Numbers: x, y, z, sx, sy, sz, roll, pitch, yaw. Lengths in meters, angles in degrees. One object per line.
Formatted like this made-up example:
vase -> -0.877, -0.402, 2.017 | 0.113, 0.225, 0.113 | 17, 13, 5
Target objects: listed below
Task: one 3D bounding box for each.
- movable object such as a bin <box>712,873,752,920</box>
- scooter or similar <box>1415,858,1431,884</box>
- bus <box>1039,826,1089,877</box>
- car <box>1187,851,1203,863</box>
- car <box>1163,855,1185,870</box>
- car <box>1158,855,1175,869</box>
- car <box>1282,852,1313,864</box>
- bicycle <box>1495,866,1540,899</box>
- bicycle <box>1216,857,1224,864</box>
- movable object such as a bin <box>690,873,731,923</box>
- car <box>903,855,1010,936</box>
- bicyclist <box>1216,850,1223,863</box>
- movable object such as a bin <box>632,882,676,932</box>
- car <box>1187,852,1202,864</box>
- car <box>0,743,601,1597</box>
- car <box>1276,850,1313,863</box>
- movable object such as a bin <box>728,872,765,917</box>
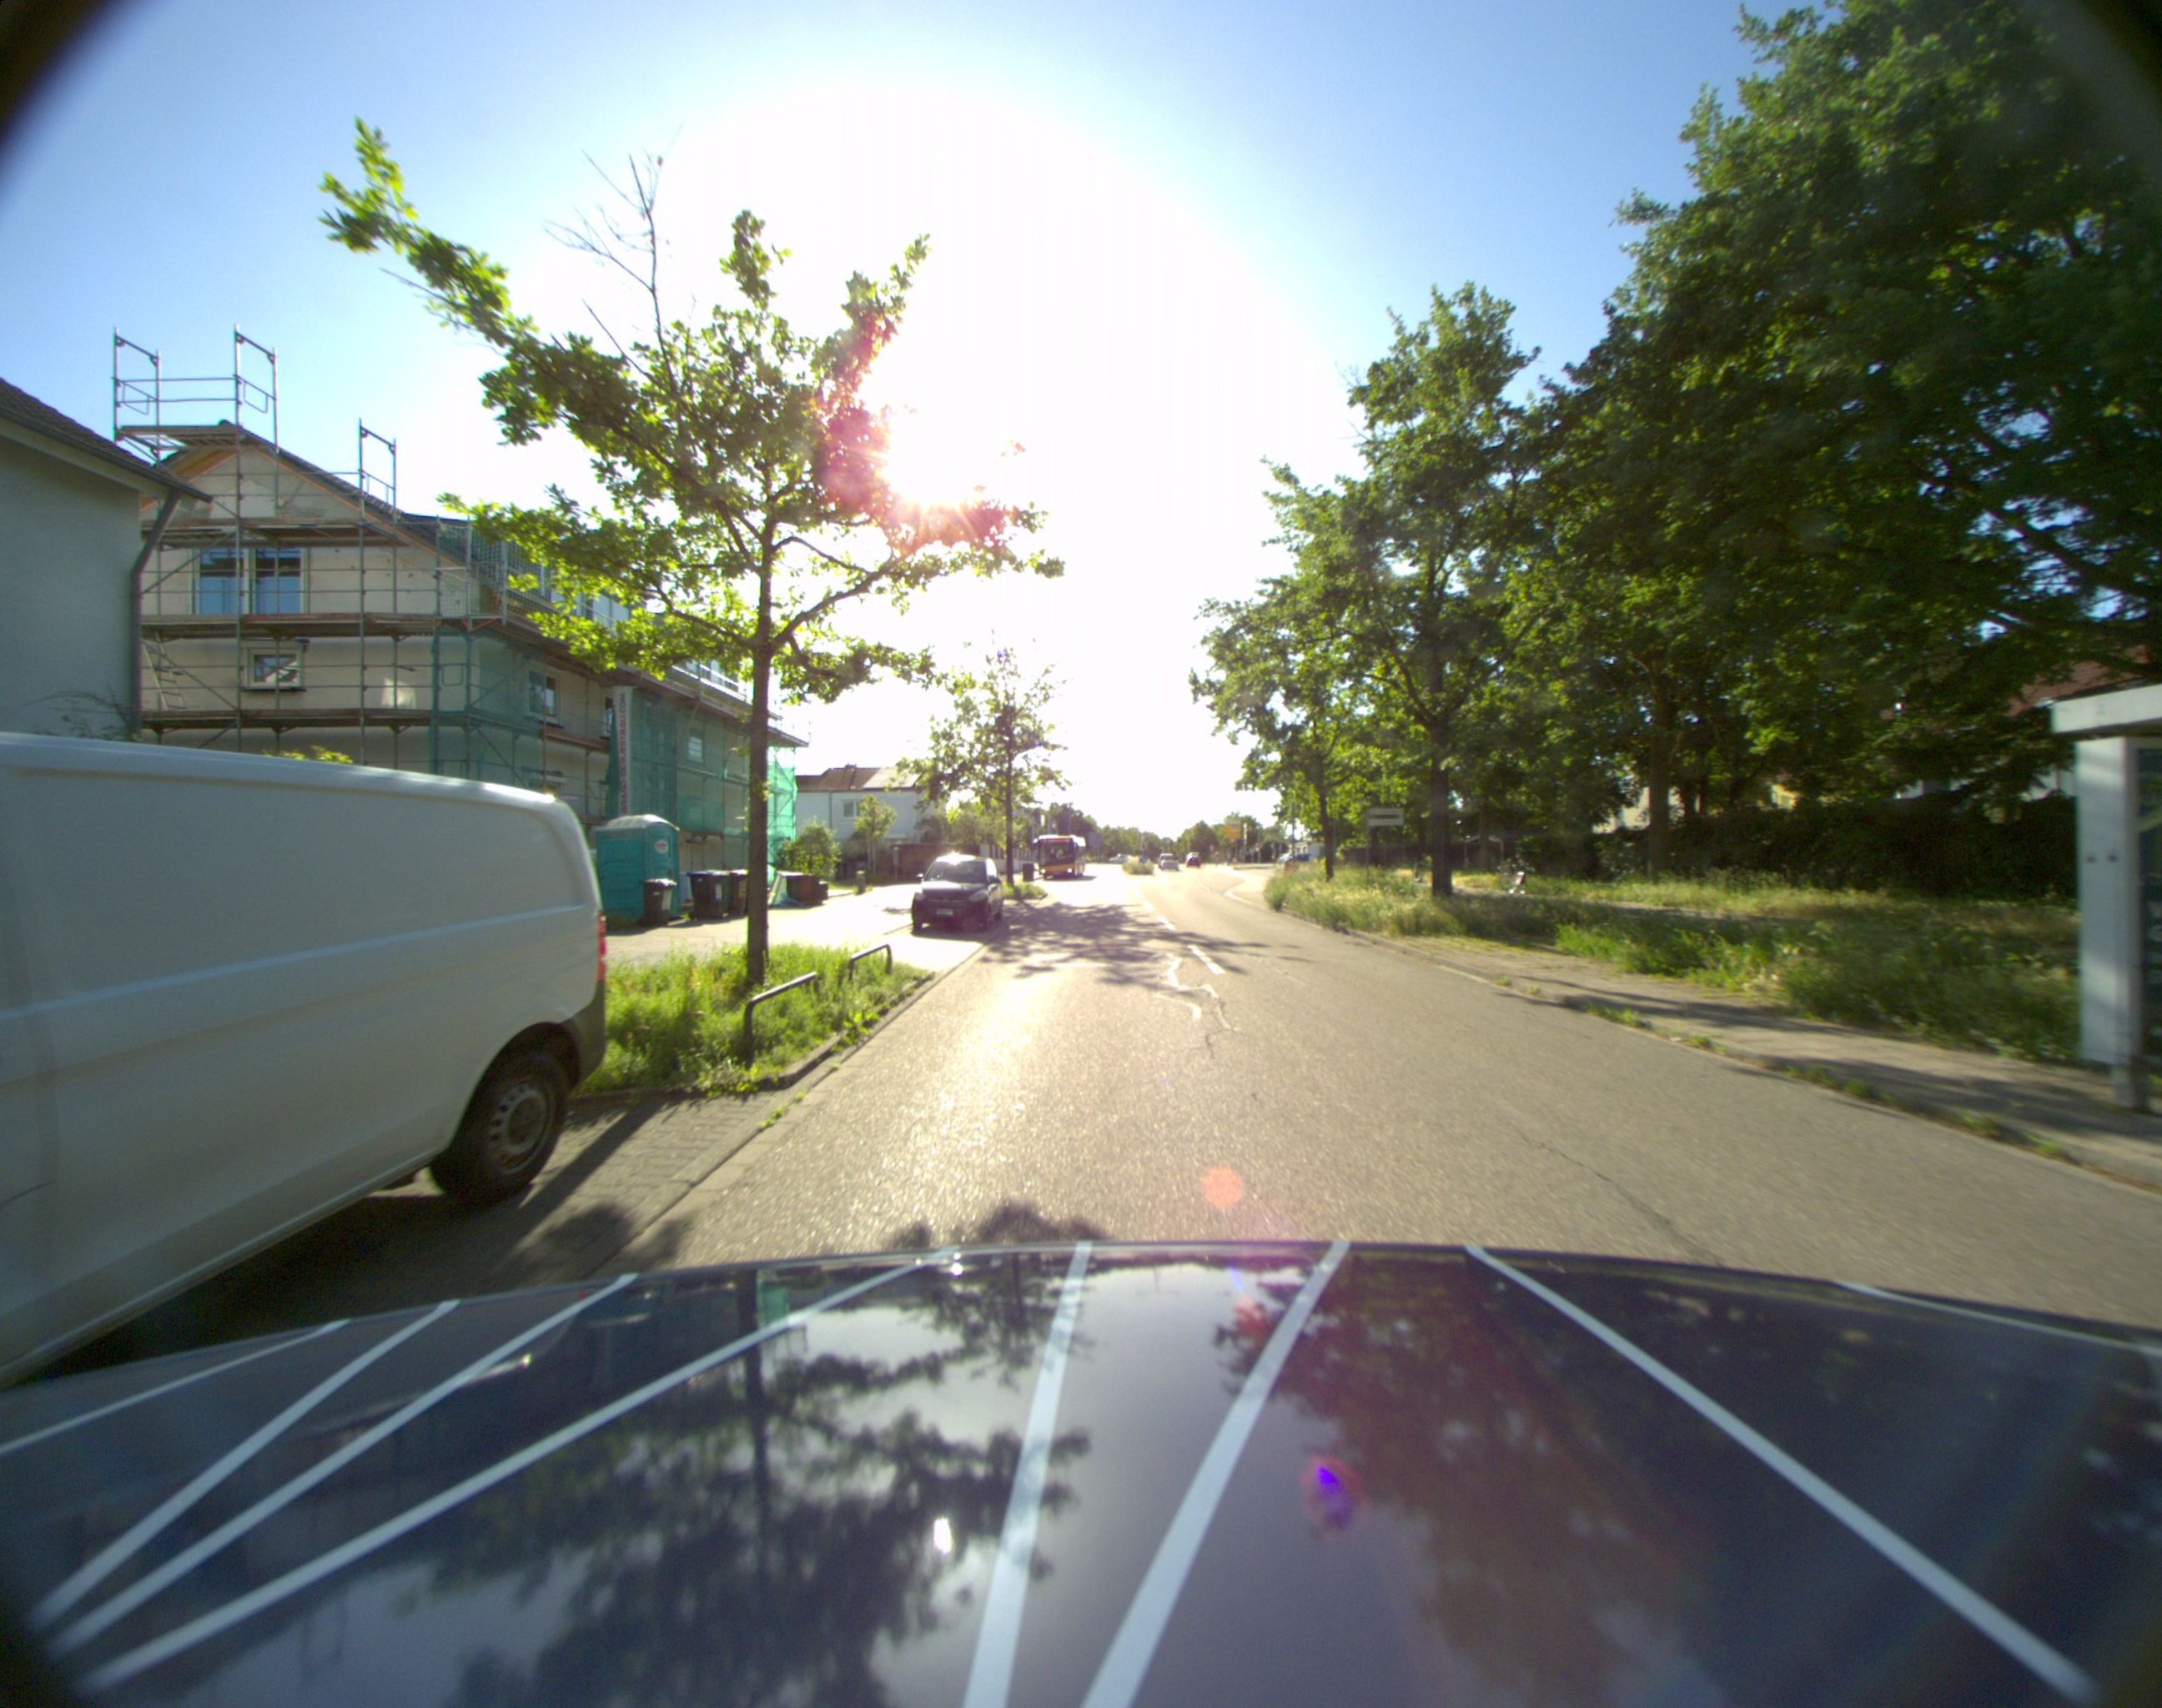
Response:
movable object such as a bin -> -8.107, 0.977, 17.662 | 0.605, 1.063, 0.646 | 0, 1, 1
scooter or similar -> 16.572, 0.837, 36.870 | 0.539, 1.211, 1.415 | -2, -1, 18
bus -> -1.110, -0.235, 57.861 | 2.763, 3.438, 12.399 | 1, 1, 3
car -> 16.233, 0.480, 108.298 | 1.997, 1.634, 4.532 | 0, 0, 6
car -> 9.143, 0.796, 75.051 | 1.998, 1.442, 4.401 | 0, 0, 5
car -> 9.511, 0.847, 84.716 | 1.750, 1.474, 3.890 | 0, 0, 6
car -> 32.074, 0.604, 112.482 | 4.036, 1.634, 1.894 | 0, -2, 2
bicycle -> 14.700, 0.952, 25.663 | 0.506, 1.047, 1.880 | 0, 0, 2
bicycle -> 17.684, 0.866, 96.835 | 0.750, 0.843, 1.991 | 0, 0, 5
movable object such as a bin -> -8.168, 0.969, 16.761 | 0.605, 1.063, 0.567 | 0, 1, 1
car -> -2.672, 0.841, 17.122 | 1.676, 1.569, 3.752 | 1, 0, 1
bicyclist -> 17.668, 0.303, 96.849 | 0.746, 1.692, 1.242 | 0, 0, 5
movable object such as a bin -> -8.362, 1.027, 14.895 | 0.530, 0.927, 0.549 | 0, 1, 1
car -> 13.931, 0.512, 93.316 | 1.648, 1.474, 3.715 | 0, 0, 6
car -> -3.401, 0.731, 1.548 | 1.840, 1.959, 4.758 | 0, 0, -1
car -> 33.632, 0.416, 119.563 | 5.271, 2.001, 2.049 | 0, -2, 2
movable object such as a bin -> -8.191, 0.977, 18.646 | 0.605, 1.063, 0.646 | 0, 1, 1
